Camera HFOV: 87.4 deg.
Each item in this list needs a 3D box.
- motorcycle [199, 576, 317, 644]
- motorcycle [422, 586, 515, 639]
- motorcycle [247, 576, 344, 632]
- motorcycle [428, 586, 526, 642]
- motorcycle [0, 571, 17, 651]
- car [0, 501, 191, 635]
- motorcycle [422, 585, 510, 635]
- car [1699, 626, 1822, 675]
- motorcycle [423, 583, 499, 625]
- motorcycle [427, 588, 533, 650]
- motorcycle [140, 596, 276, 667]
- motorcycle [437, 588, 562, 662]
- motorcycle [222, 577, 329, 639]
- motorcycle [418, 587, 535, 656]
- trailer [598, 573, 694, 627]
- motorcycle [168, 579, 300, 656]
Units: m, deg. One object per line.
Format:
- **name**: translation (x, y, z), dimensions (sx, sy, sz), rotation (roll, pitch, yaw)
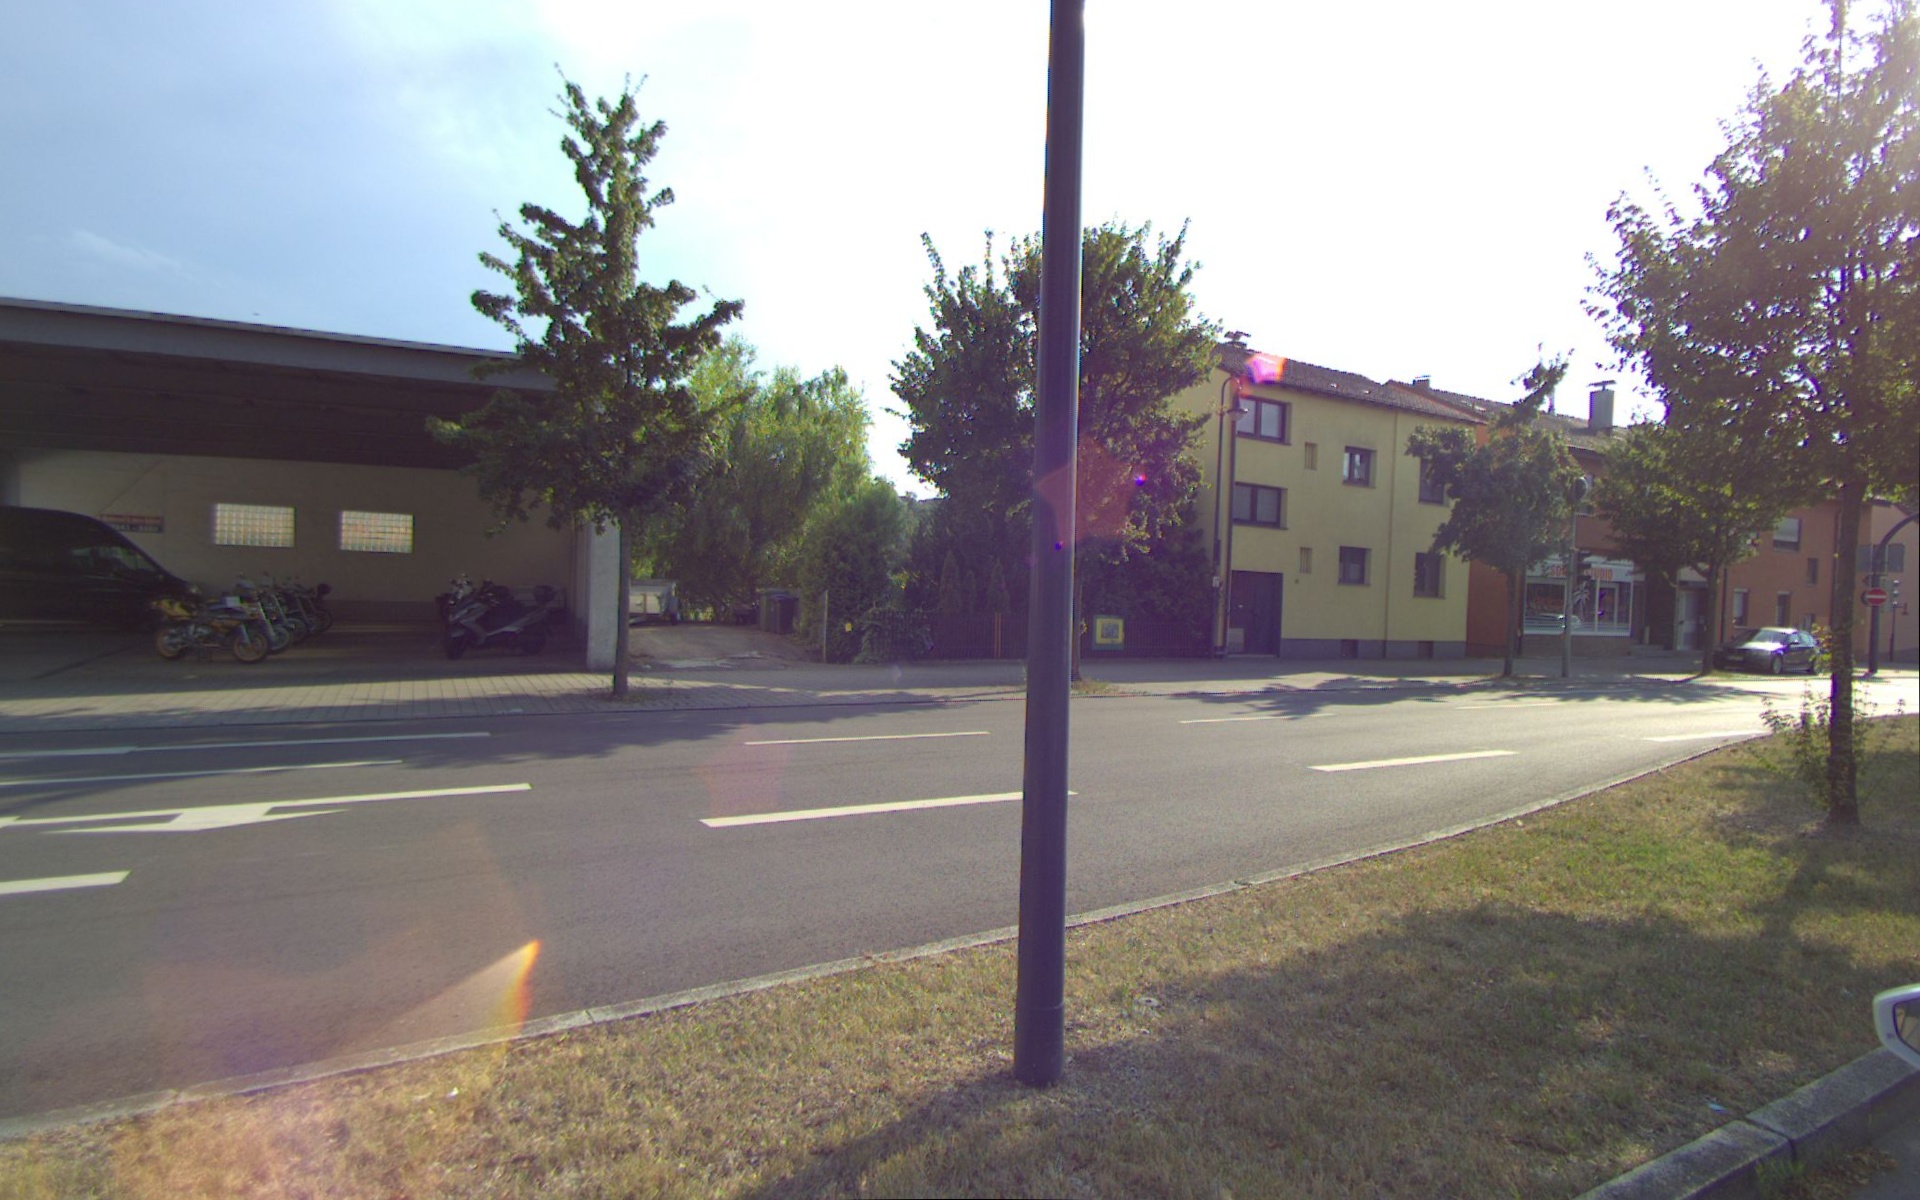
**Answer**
- **motorcycle**: translation (-14.749, 0.207, 21.104), dimensions (2.219, 1.354, 0.631), rotation (1, 0, 10)
- **motorcycle**: translation (-12.644, 0.294, 25.920), dimensions (0.621, 1.314, 2.113), rotation (1, 2, 36)
- **motorcycle**: translation (-16.905, 0.104, 25.572), dimensions (2.219, 1.354, 0.631), rotation (1, 0, 10)
- **motorcycle**: translation (-11.762, 0.314, 24.537), dimensions (0.621, 1.314, 2.113), rotation (1, 2, 36)
- **motorcycle**: translation (-17.283, 0.172, 16.724), dimensions (0.619, 1.380, 2.225), rotation (1, 0, 24)
- **car**: translation (-20.448, -0.680, 22.091), dimensions (1.962, 2.789, 5.280), rotation (1, 0, 26)
- **motorcycle**: translation (-13.509, 0.242, 27.518), dimensions (0.621, 1.314, 2.113), rotation (1, 2, 36)
- **car**: translation (25.973, 1.598, 32.556), dimensions (3.953, 1.319, 1.728), rotation (1, 4, -30)
- **motorcycle**: translation (-15.955, 0.102, 32.176), dimensions (0.621, 1.314, 2.113), rotation (1, 2, 36)
- **motorcycle**: translation (-10.738, 0.386, 22.537), dimensions (0.621, 1.314, 2.113), rotation (1, 2, 36)
- **motorcycle**: translation (-12.492, 0.506, 16.697), dimensions (1.993, 1.101, 0.631), rotation (1, 0, 12)
- **motorcycle**: translation (-8.615, 0.433, 18.897), dimensions (0.621, 1.314, 2.113), rotation (1, 2, 36)
- **motorcycle**: translation (-15.880, 0.184, 23.313), dimensions (2.219, 1.354, 0.631), rotation (1, 0, 10)
- **motorcycle**: translation (-9.808, 0.404, 20.459), dimensions (0.621, 1.314, 2.113), rotation (1, 2, 36)
- **trailer**: translation (-8.213, -0.005, 26.617), dimensions (1.698, 1.280, 3.995), rotation (1, 0, -7)
- **motorcycle**: translation (-13.628, 0.322, 18.862), dimensions (2.219, 1.354, 0.631), rotation (1, 0, 10)
